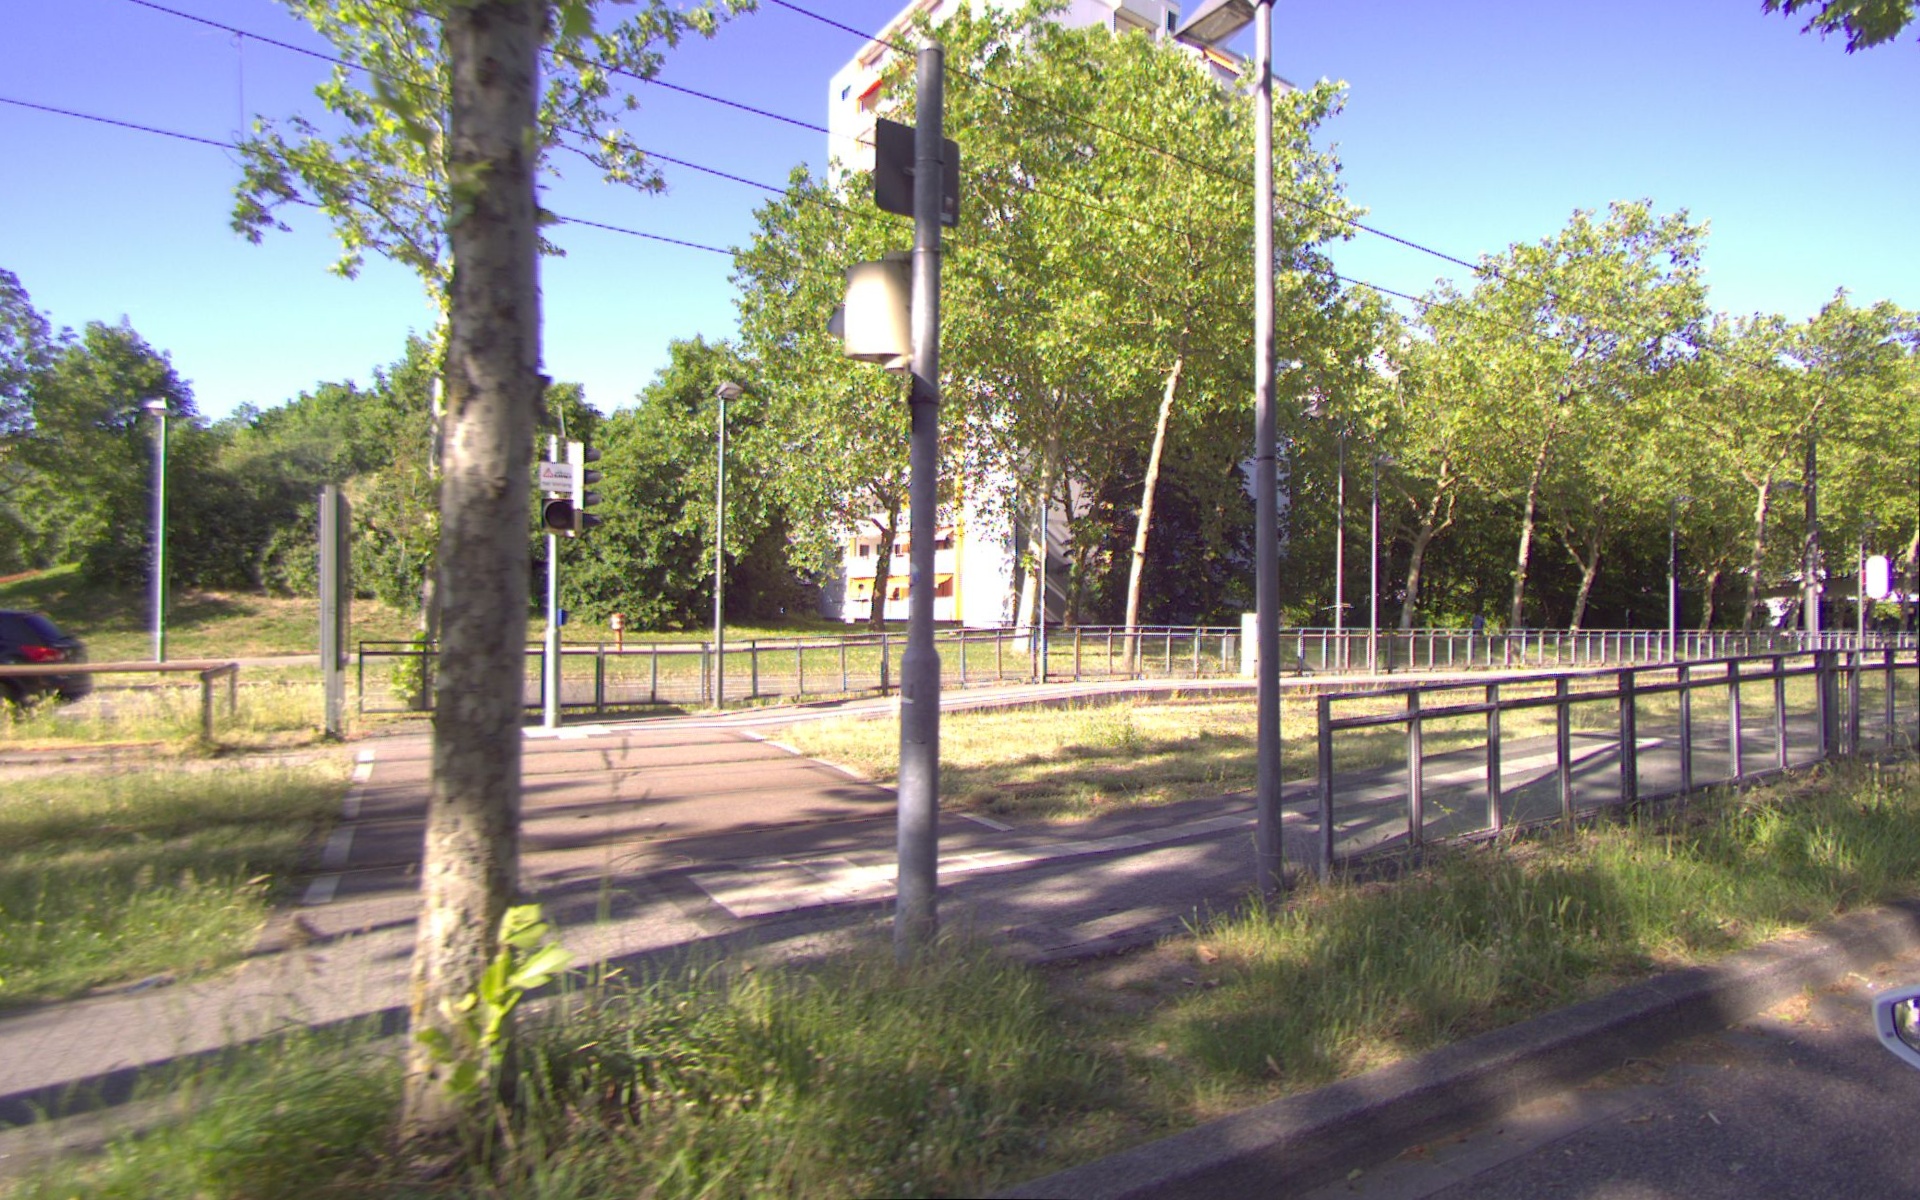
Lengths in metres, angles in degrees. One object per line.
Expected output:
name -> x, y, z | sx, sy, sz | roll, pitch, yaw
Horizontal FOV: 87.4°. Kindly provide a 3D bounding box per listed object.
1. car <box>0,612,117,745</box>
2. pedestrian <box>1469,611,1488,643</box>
car -> -13.356, 0.946, 12.390 | 4.216, 1.629, 1.786 | 1, -1, -30
pedestrian -> 27.585, 1.443, 53.441 | 0.642, 1.683, 0.645 | 1, 0, -29
